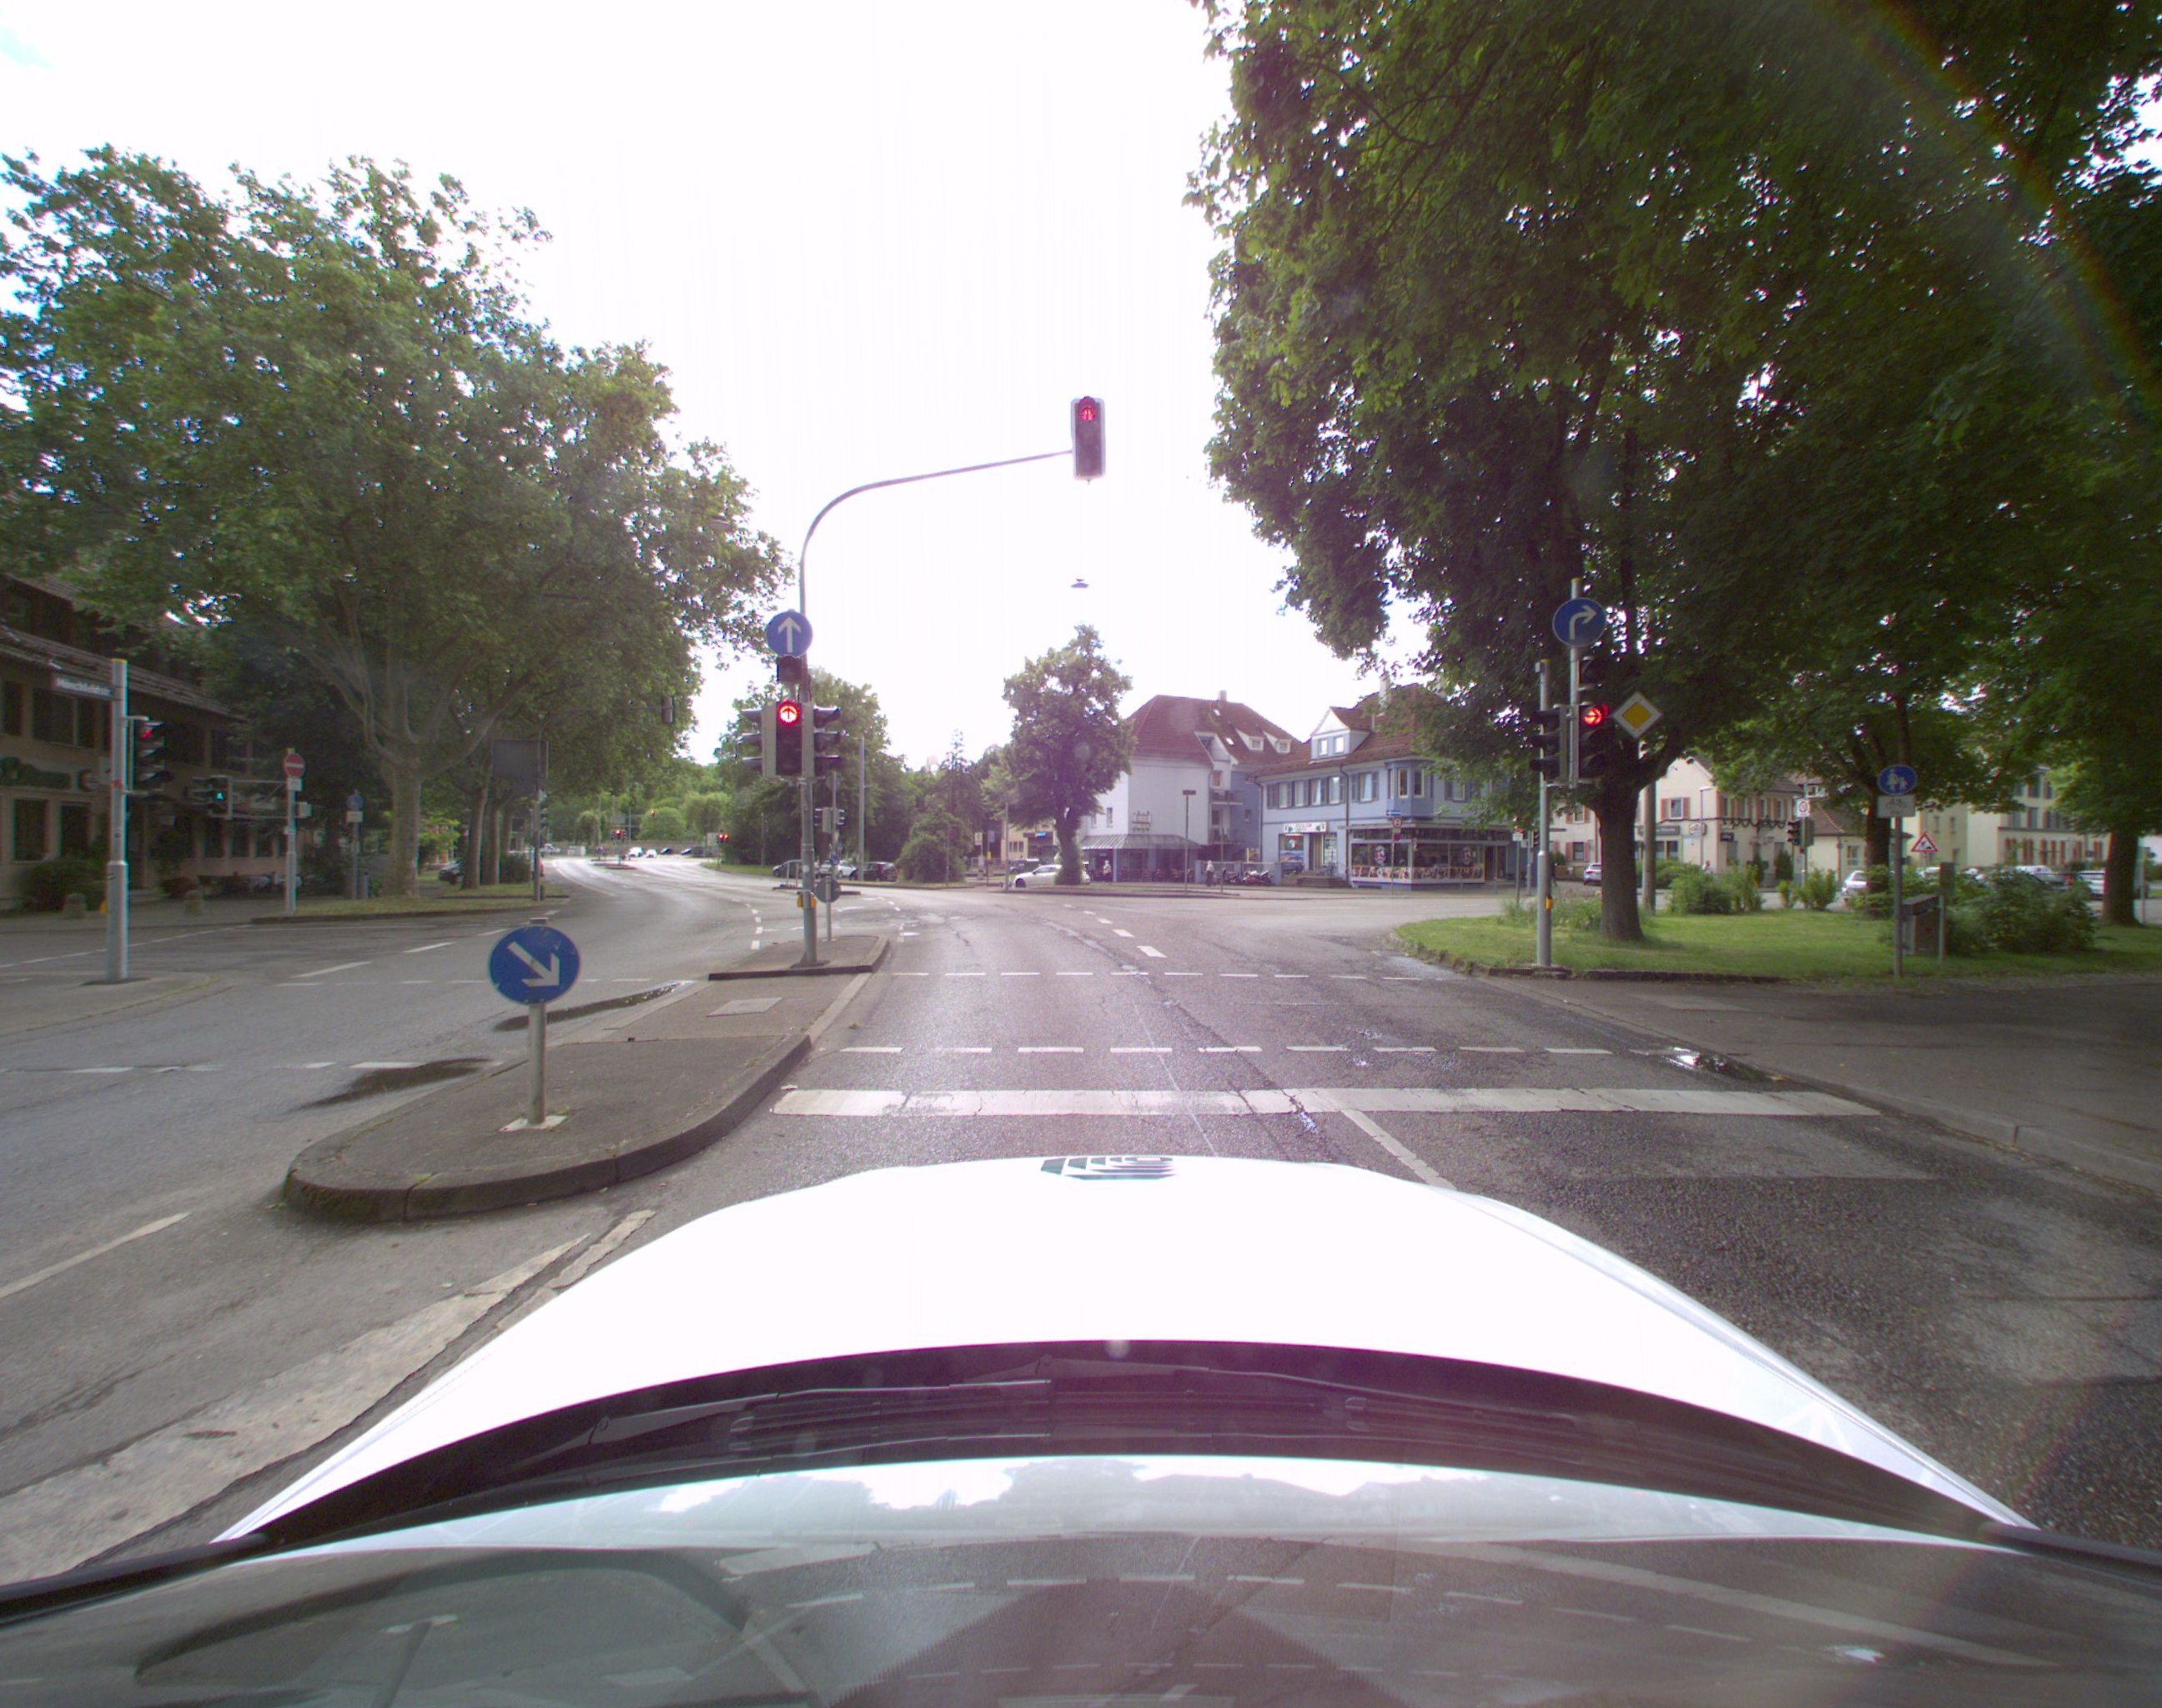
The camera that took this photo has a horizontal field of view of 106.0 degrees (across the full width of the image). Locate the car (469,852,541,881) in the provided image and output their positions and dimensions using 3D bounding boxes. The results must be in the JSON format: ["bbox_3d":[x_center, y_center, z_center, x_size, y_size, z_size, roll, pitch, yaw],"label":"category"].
[{"bbox_3d":[-35.485,0.759,50.281,3.461,1.742,1.557,0,-1,-31],"label":"car"}]

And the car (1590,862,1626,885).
[{"bbox_3d":[32.601,1.187,50.340,1.481,1.369,3.198,-1,-1,40],"label":"car"}]

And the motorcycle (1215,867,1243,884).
[{"bbox_3d":[9.112,1.316,50.077,0.699,1.064,1.617,0,-1,-44],"label":"motorcycle"}]

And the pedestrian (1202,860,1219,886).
[{"bbox_3d":[7.770,1.112,48.937,0.759,1.545,0.682,-1,-1,41],"label":"pedestrian"}]

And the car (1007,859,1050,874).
[{"bbox_3d":[-4.883,1.138,76.155,3.752,1.345,1.422,0,0,-25],"label":"car"}]

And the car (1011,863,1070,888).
[{"bbox_3d":[-2.309,1.204,46.237,3.134,1.354,1.448,0,-1,36],"label":"car"}]

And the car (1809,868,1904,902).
[{"bbox_3d":[31.962,1.254,33.567,3.511,1.321,1.549,0,0,-22],"label":"car"}]

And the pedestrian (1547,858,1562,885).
[{"bbox_3d":[27.171,0.987,46.725,0.459,1.517,0.584,0,-1,-18],"label":"pedestrian"}]

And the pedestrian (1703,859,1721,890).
[{"bbox_3d":[34.766,1.117,44.869,0.612,1.649,0.605,0,-1,-34],"label":"pedestrian"}]

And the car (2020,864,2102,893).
[{"bbox_3d":[47.002,1.169,39.058,3.511,1.321,1.549,0,0,-22],"label":"car"}]

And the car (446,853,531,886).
[{"bbox_3d":[-31.003,0.787,42.716,3.461,1.641,1.557,0,-1,-31],"label":"car"}]

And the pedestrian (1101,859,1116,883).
[{"bbox_3d":[1.809,1.101,53.363,0.699,1.545,0.682,-1,-1,42],"label":"pedestrian"}]

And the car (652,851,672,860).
[{"bbox_3d":[-95.501,0.439,185.600,4.011,2.014,1.981,0,-1,-29],"label":"car"}]

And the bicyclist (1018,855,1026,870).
[{"bbox_3d":[-6.204,0.908,85.070,0.739,1.541,0.596,0,-1,-17],"label":"bicyclist"}]

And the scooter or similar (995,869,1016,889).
[{"bbox_3d":[-3.979,1.293,42.880,0.413,1.011,1.575,-1,-1,22],"label":"scooter or similar"}]

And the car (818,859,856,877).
[{"bbox_3d":[-20.081,1.133,67.185,1.534,1.464,3.407,0,0,13],"label":"car"}]

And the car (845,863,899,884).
[{"bbox_3d":[-13.908,1.269,54.204,3.549,1.394,1.481,0,-1,34],"label":"car"}]

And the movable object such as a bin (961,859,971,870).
[{"bbox_3d":[-12.223,1.123,86.638,0.953,1.115,0.381,0,-1,-19],"label":"movable object such as a bin"}]

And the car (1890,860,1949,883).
[{"bbox_3d":[55.114,1.129,53.529,4.007,1.420,1.544,0,0,-26],"label":"car"}]

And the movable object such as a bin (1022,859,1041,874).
[{"bbox_3d":[-4.525,1.136,74.247,1.447,1.409,0.959,0,-1,-25],"label":"movable object such as a bin"}]

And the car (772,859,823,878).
[{"bbox_3d":[-22.440,1.117,64.483,3.520,1.464,1.591,0,0,14],"label":"car"}]

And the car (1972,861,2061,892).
[{"bbox_3d":[42.215,0.978,36.751,3.510,1.321,1.549,0,0,-21],"label":"car"}]

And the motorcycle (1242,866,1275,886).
[{"bbox_3d":[10.534,1.290,48.262,1.777,1.121,0.699,0,-1,40],"label":"motorcycle"}]

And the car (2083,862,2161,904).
[{"bbox_3d":[52.830,1.437,41.125,4.004,2.014,1.770,0,-1,-23],"label":"car"}]
